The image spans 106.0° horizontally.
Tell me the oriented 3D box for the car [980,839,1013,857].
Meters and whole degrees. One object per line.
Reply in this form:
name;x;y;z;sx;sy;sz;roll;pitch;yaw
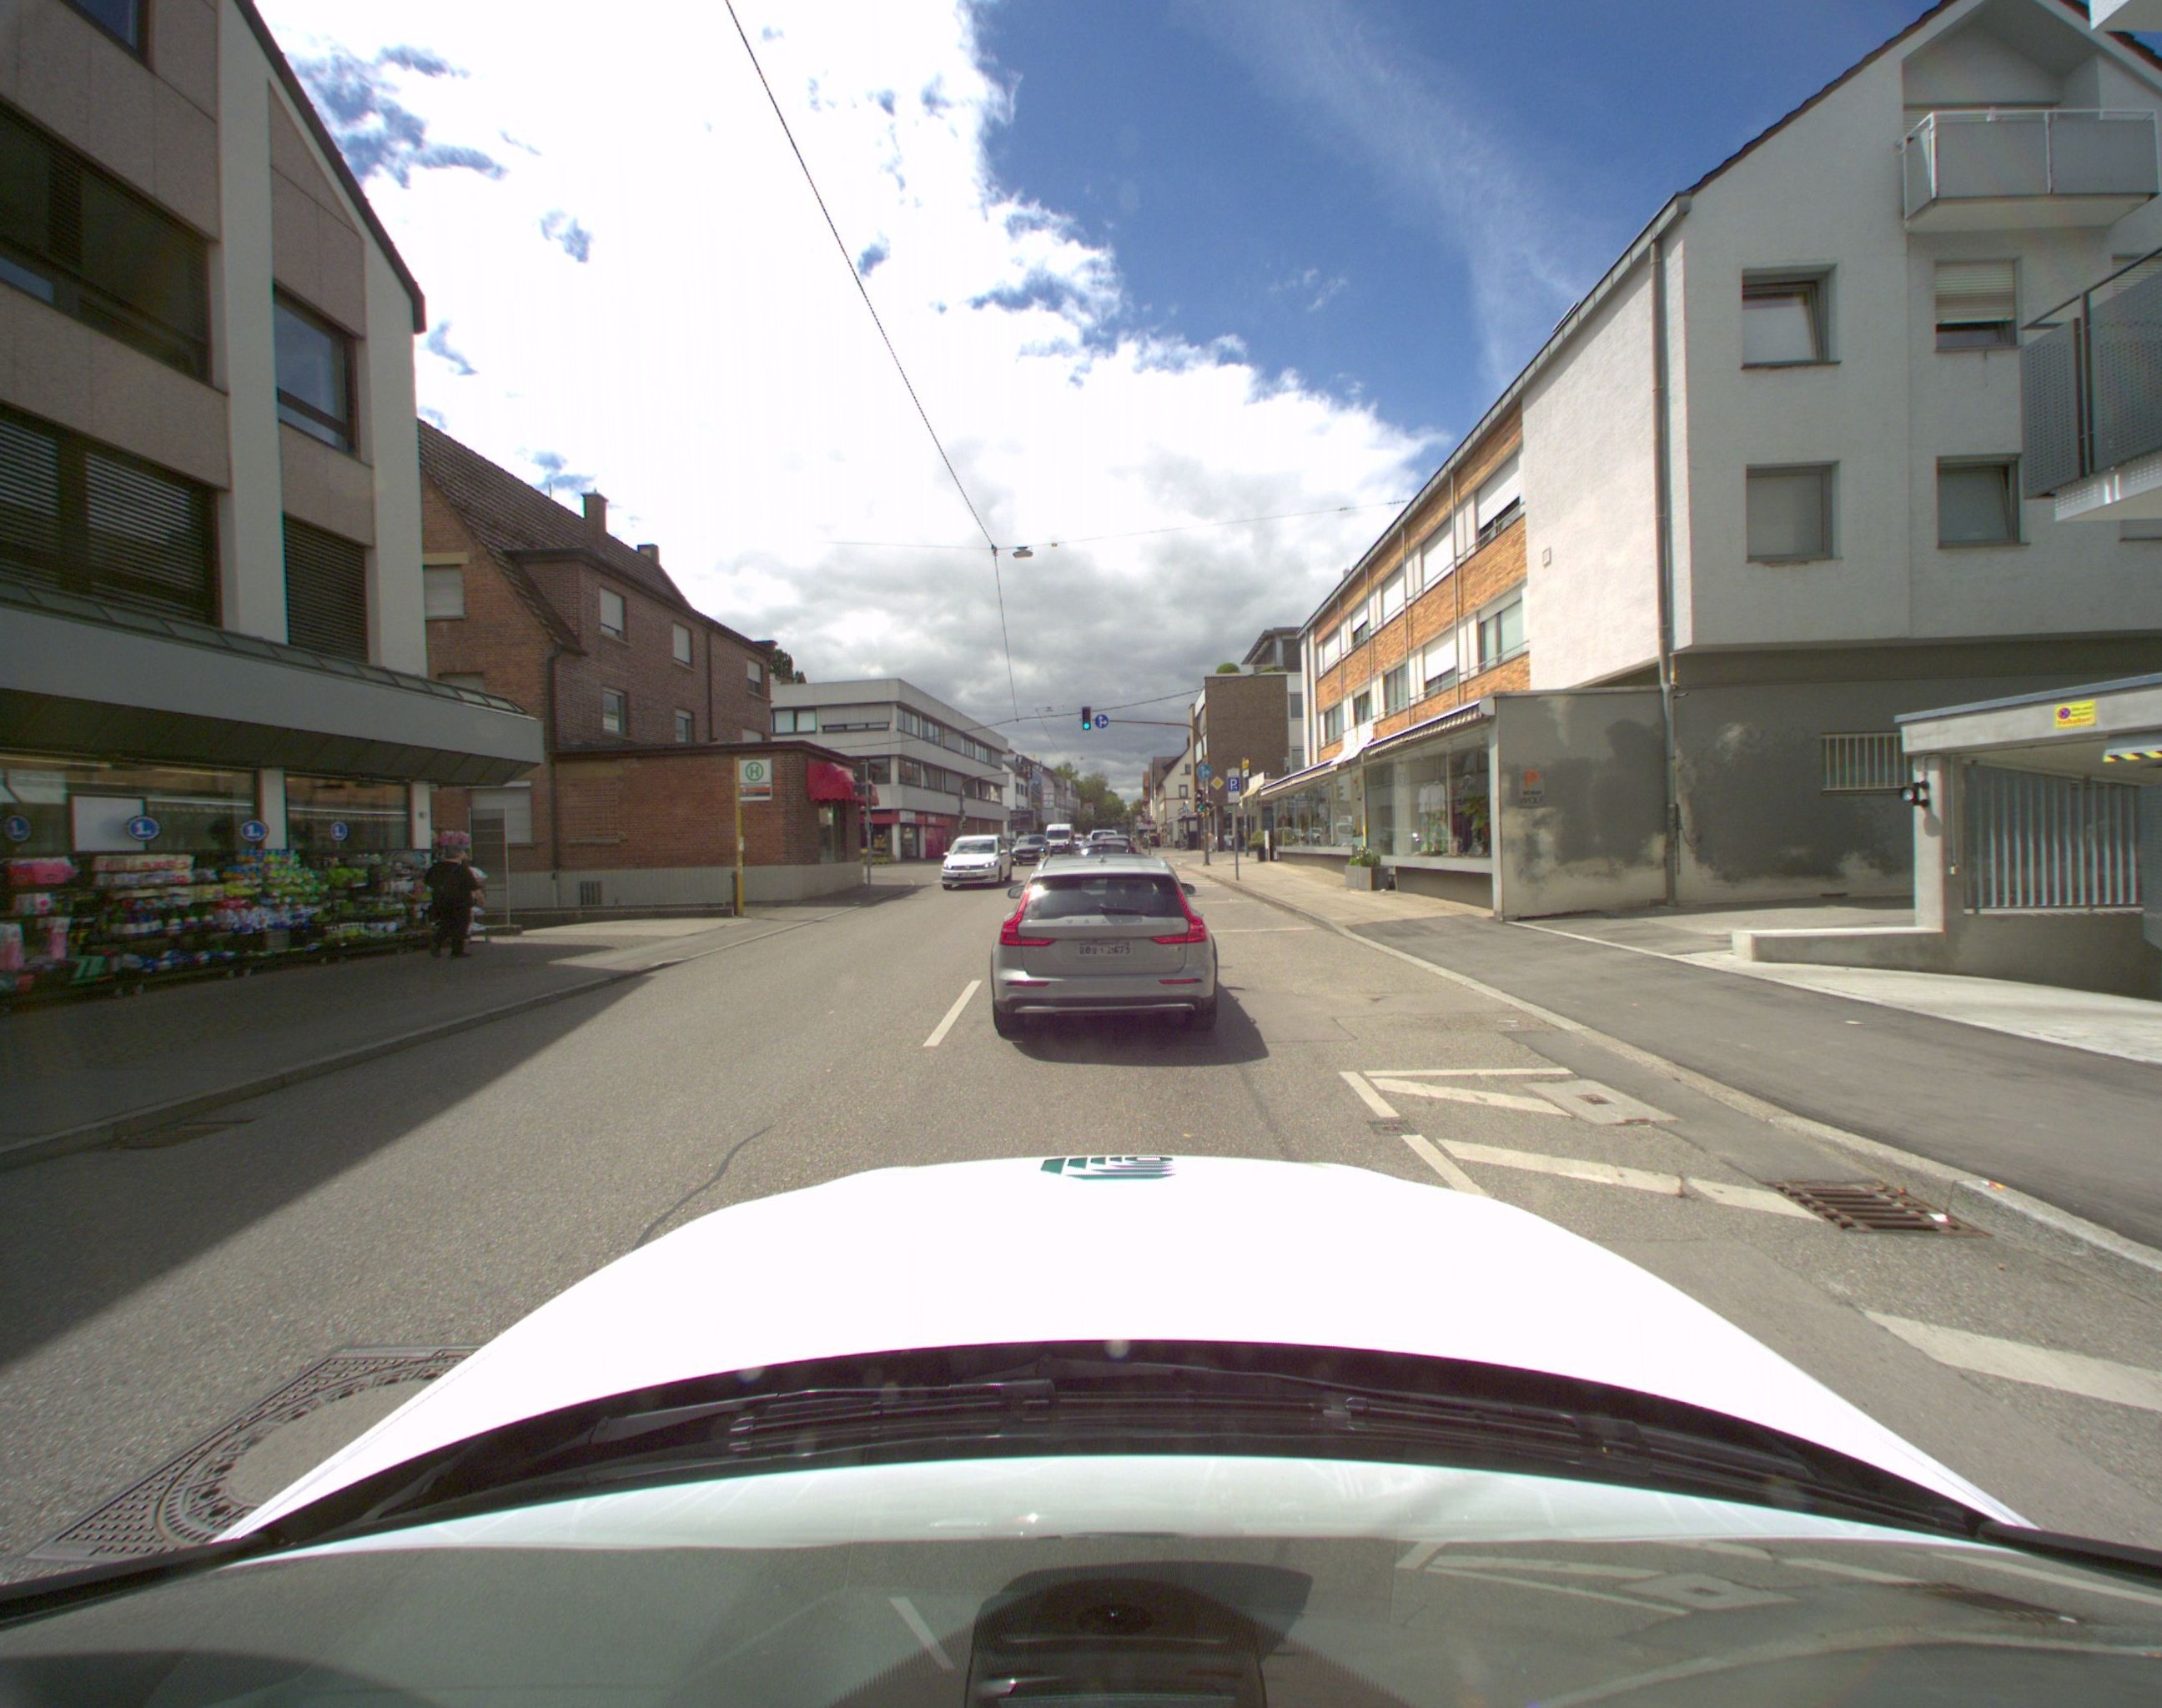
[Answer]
car;-7.116;-0.544;69.250;1.894;1.443;4.452;0;1;6

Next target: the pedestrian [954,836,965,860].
pedestrian;-8.425;-0.406;56.531;0.616;1.641;0.661;-2;1;3

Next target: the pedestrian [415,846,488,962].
pedestrian;-8.777;0.675;11.365;0.776;1.558;0.567;1;-1;-39

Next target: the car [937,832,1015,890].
car;-3.316;0.165;26.466;1.768;1.612;4.122;-3;2;2

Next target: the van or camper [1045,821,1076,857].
van or camper;-1.538;-1.213;62.809;2.141;2.555;5.439;-2;2;0

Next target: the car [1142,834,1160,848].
car;7.889;-1.430;92.255;1.705;1.464;4.000;-1;0;0

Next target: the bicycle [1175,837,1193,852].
bicycle;8.510;-0.793;67.305;0.555;1.144;2.288;-3;1;-15

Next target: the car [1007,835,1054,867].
car;-2.527;-0.138;41.680;1.782;1.511;3.850;-2;0;5

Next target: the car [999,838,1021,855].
car;-6.571;-0.712;75.137;1.601;1.543;2.947;0;1;3

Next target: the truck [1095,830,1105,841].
truck;5.096;-4.855;212.048;2.266;2.886;7.086;-2;1;3

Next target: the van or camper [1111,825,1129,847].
van or camper;4.988;-2.314;104.028;2.114;2.686;4.786;-2;1;3

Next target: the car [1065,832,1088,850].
car;-0.412;-1.270;77.747;1.773;1.639;4.225;-3;1;3

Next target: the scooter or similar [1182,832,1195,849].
scooter or similar;8.471;-1.060;64.179;0.342;1.253;1.236;-4;0;-23

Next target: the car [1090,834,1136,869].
car;1.353;-0.093;34.503;1.800;1.346;3.719;-2;0;2

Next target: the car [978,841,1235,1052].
car;0.250;0.669;7.928;1.829;1.486;4.002;-2;0;2

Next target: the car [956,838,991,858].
car;-8.344;-0.482;63.403;1.776;1.464;4.094;0;1;6

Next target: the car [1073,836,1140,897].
car;0.690;0.290;22.030;1.644;1.482;3.609;-1;1;2

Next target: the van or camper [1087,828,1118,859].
van or camper;1.391;-0.618;51.845;1.812;1.835;4.001;-2;-1;2
